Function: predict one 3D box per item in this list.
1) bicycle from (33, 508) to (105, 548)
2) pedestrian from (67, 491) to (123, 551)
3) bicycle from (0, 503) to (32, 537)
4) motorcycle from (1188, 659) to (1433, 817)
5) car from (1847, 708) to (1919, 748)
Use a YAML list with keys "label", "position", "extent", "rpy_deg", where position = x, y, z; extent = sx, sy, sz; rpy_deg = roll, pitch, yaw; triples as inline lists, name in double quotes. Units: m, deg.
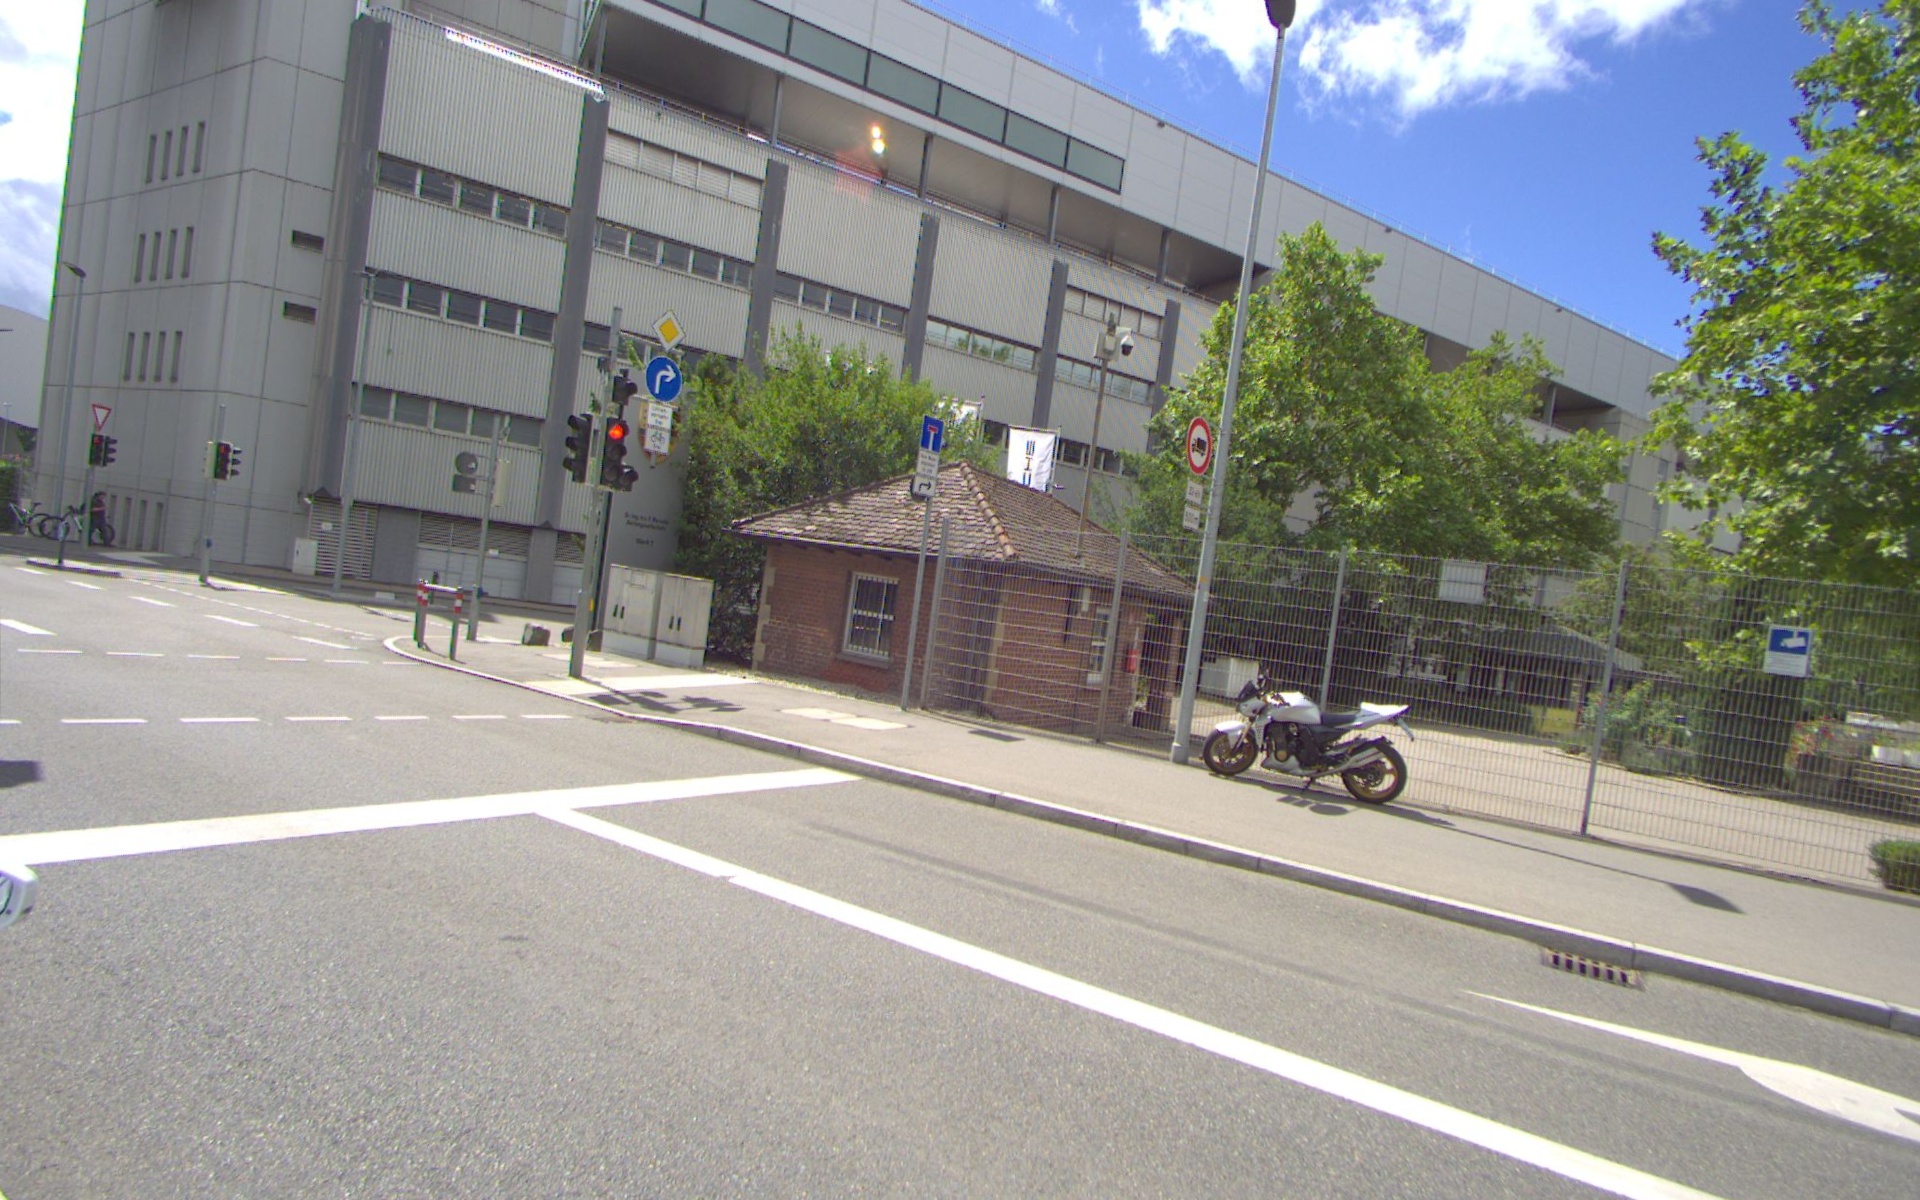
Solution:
- label: "bicycle"
  position: [-27.248, -2.195, 30.756]
  extent: [1.892, 0.948, 0.399]
  rpy_deg: [7, 0, 6]
- label: "pedestrian"
  position: [-26.186, -2.371, 30.474]
  extent: [0.837, 1.644, 0.953]
  rpy_deg: [7, 0, -17]
- label: "bicycle"
  position: [-29.672, -2.530, 31.072]
  extent: [1.891, 0.948, 0.399]
  rpy_deg: [7, 0, 13]
- label: "motorcycle"
  position: [3.458, 1.308, 9.984]
  extent: [2.110, 1.173, 0.693]
  rpy_deg: [7, 2, 27]
- label: "car"
  position: [53.059, 7.292, 56.779]
  extent: [1.979, 1.803, 3.971]
  rpy_deg: [8, -2, -30]
